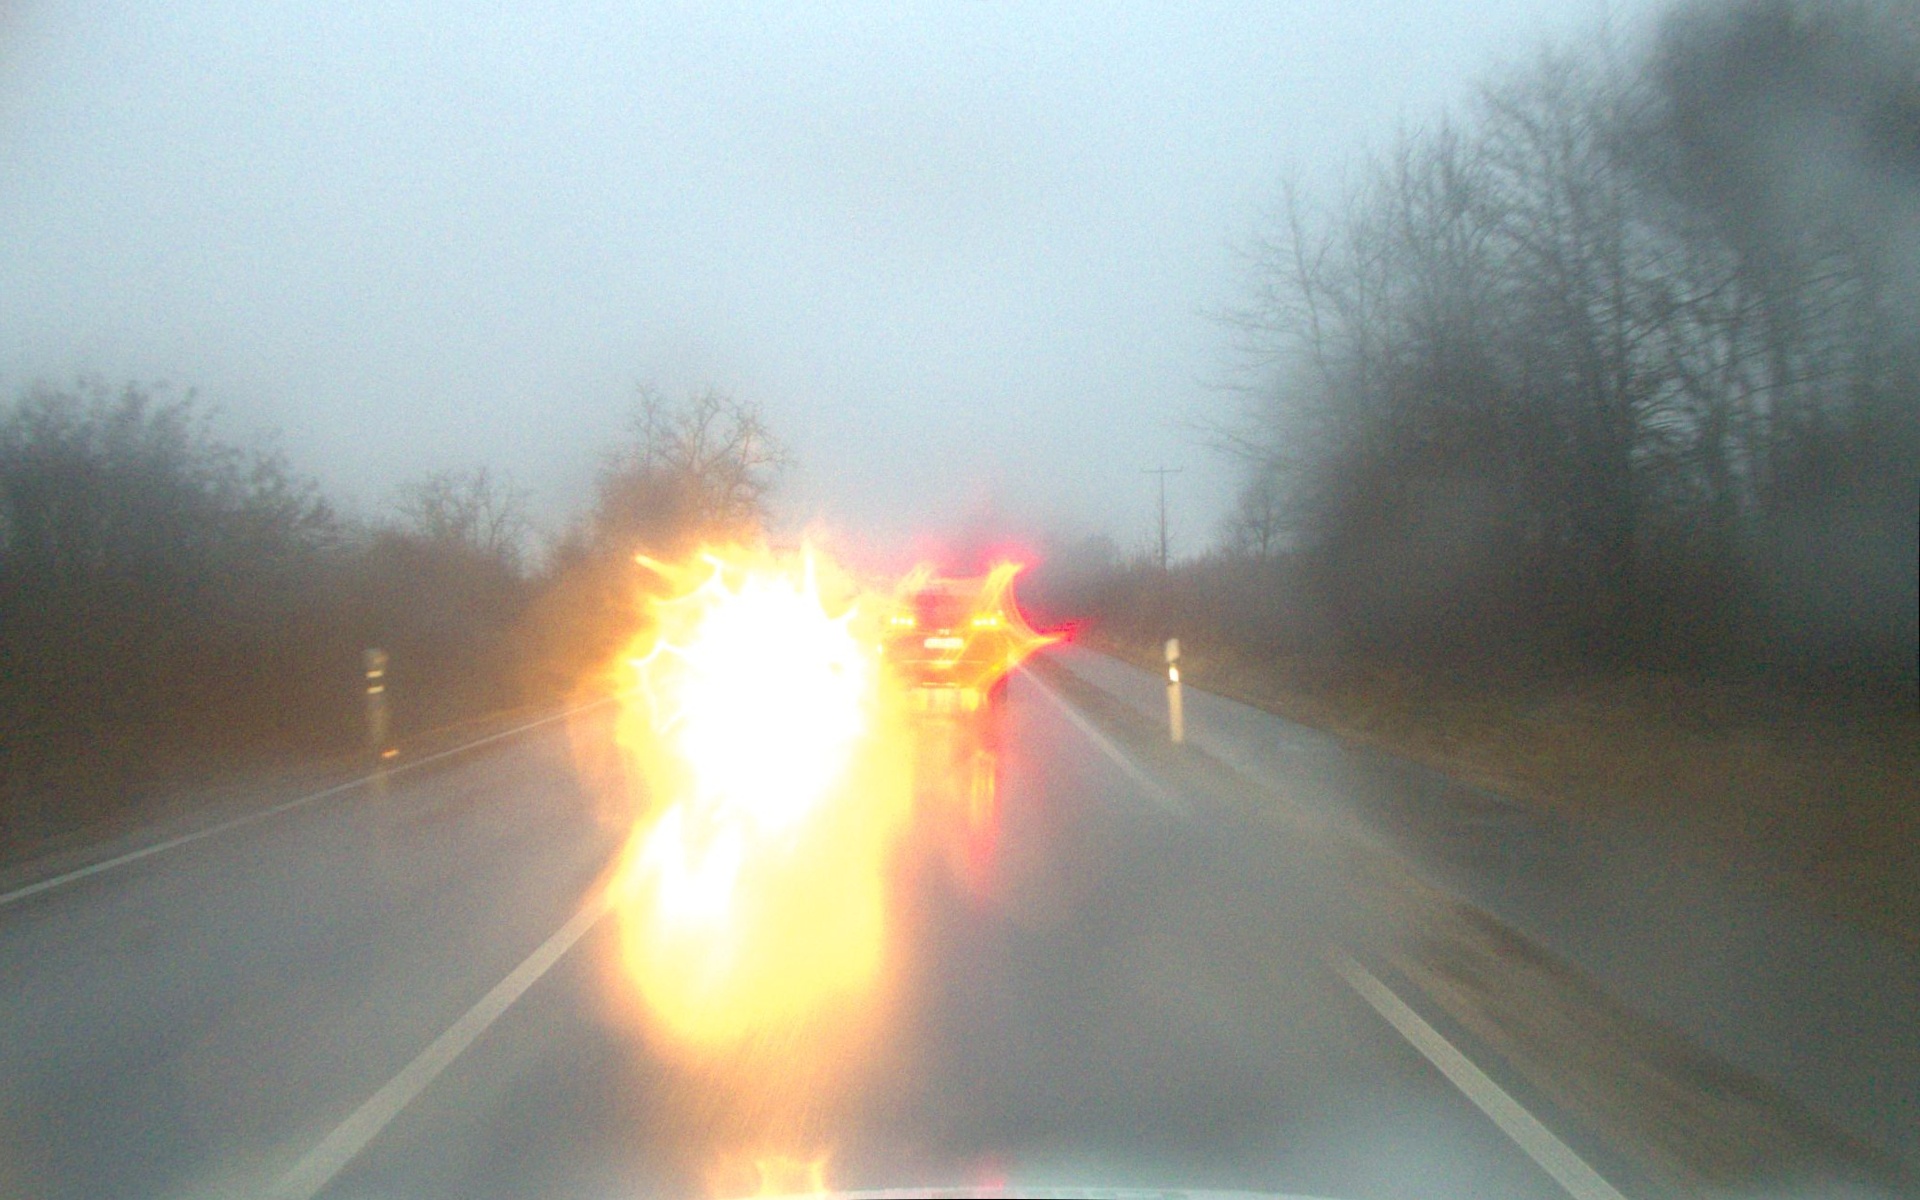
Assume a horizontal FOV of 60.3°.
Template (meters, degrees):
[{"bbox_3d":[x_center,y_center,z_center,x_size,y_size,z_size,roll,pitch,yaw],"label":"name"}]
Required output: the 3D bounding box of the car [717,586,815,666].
[{"bbox_3d":[-3.927,0.496,33.964,1.599,1.482,3.981,-2,0,-2],"label":"car"}]

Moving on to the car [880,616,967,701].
[{"bbox_3d":[-0.859,1.371,39.969,1.953,1.881,3.999,1,0,-1],"label":"car"}]

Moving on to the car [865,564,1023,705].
[{"bbox_3d":[-0.237,0.441,24.407,2.077,1.852,4.979,0,0,-1],"label":"car"}]
